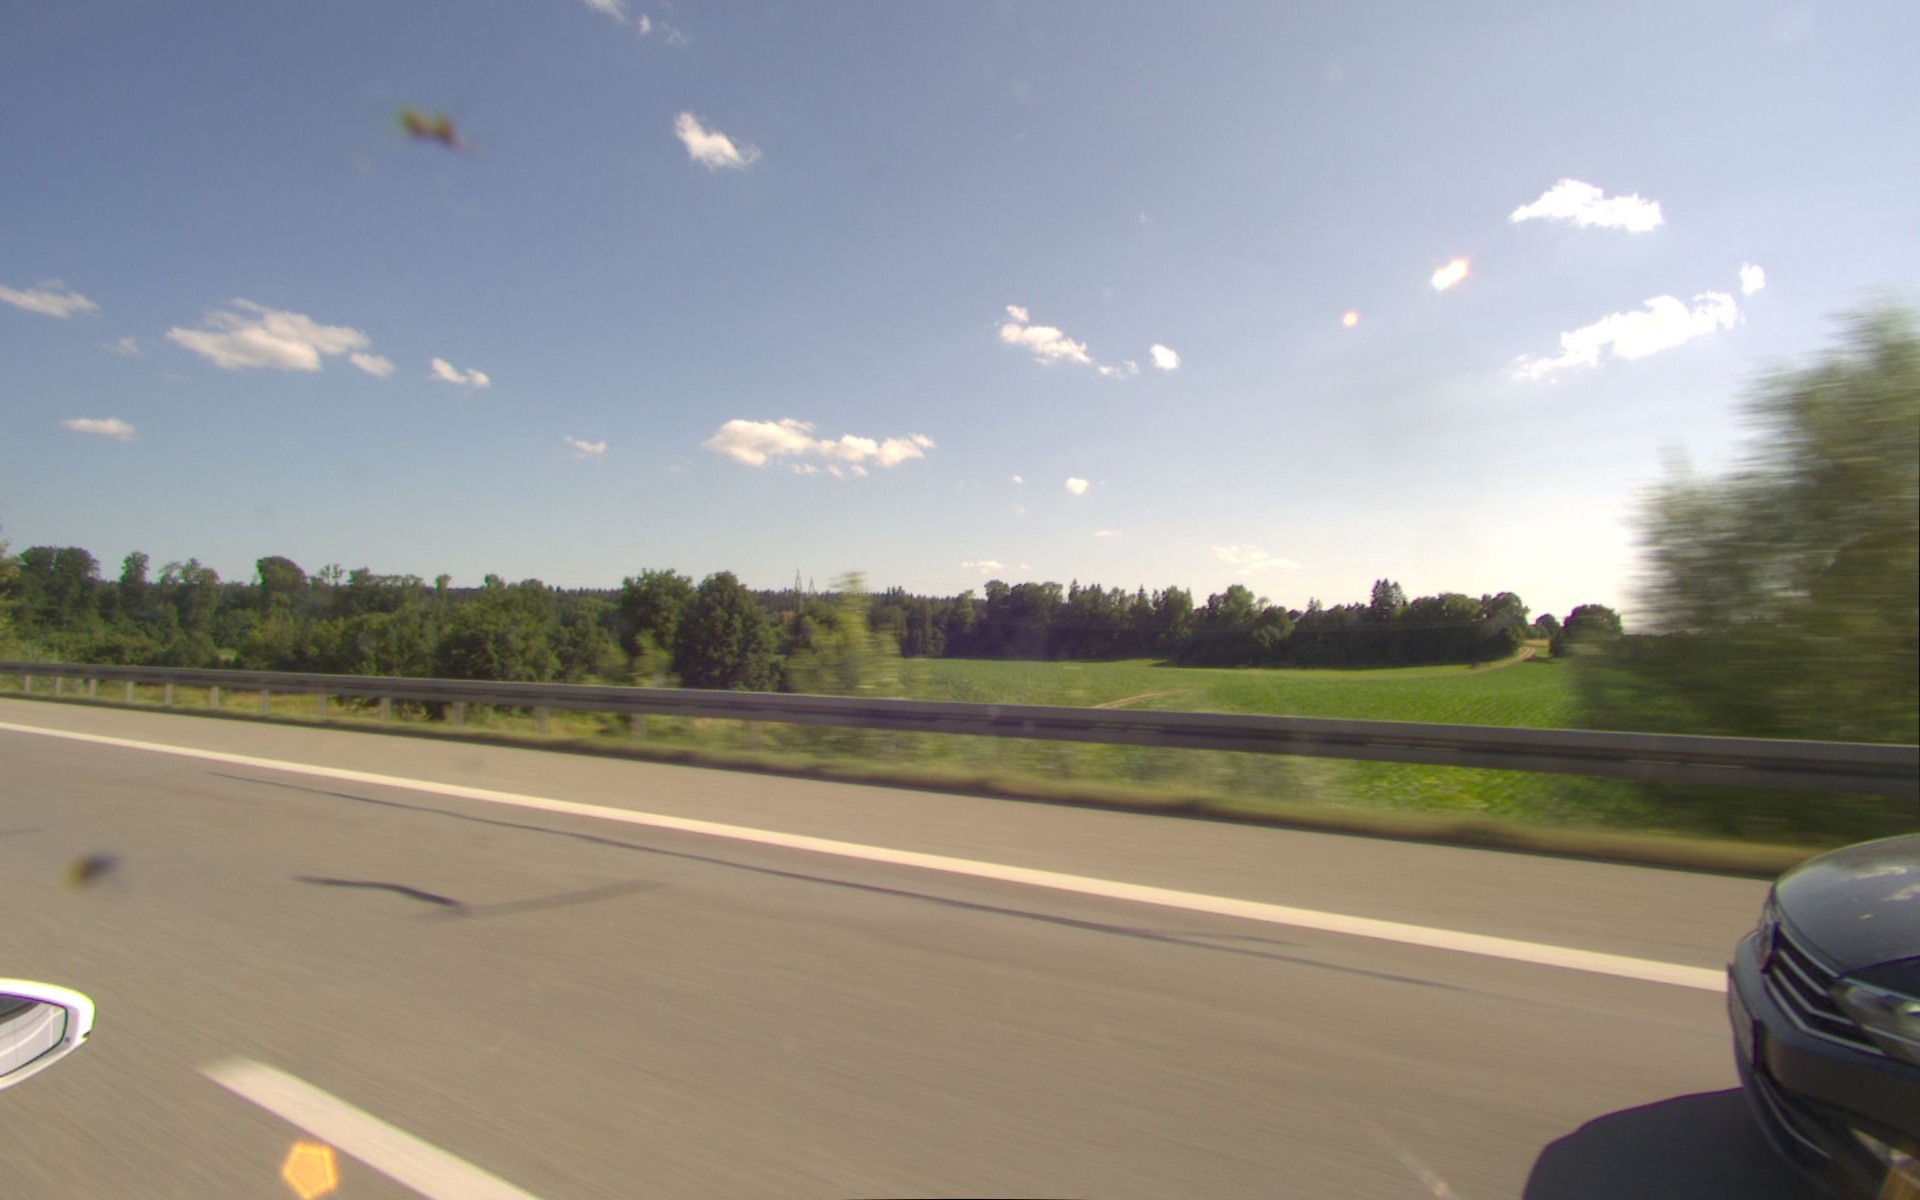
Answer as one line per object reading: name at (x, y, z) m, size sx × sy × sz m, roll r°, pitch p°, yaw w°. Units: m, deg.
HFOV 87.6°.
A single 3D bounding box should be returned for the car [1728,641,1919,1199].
car at (3.982, 0.782, 1.475) m, size 4.351 × 1.417 × 1.716 m, roll -1°, pitch -2°, yaw 33°
